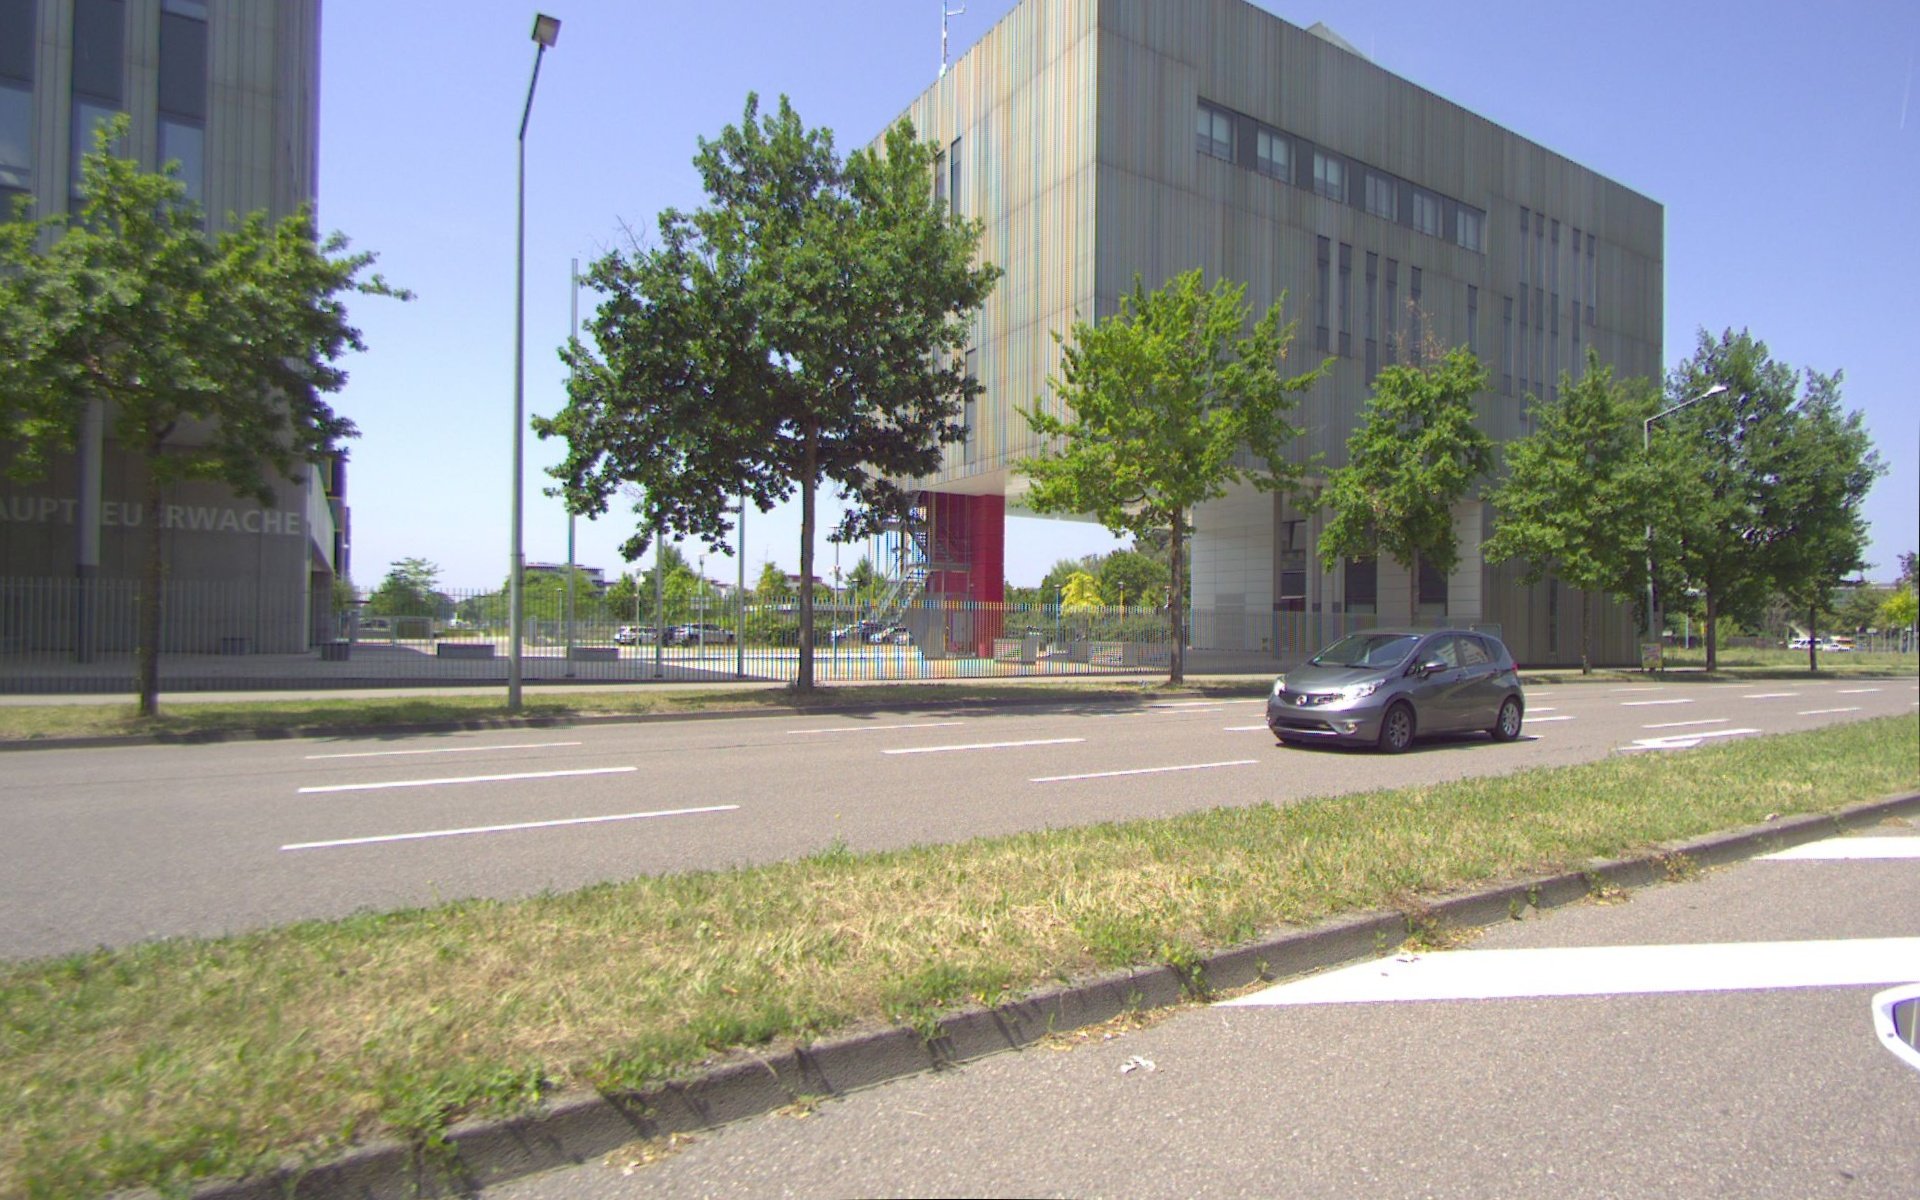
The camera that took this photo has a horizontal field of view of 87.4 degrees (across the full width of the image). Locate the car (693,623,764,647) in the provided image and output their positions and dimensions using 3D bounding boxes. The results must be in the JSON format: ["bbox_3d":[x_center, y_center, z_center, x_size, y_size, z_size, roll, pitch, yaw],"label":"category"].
[{"bbox_3d":[-14.534,2.189,63.056,3.953,1.405,1.984,1,-1,-30],"label":"car"}]

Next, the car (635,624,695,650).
[{"bbox_3d":[-20.294,2.517,69.123,3.730,1.719,1.649,1,-1,-30],"label":"car"}]

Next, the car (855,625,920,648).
[{"bbox_3d":[-5.477,2.752,76.042,4.469,1.603,2.014,1,-1,-30],"label":"car"}]

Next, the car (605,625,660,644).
[{"bbox_3d":[-25.087,2.651,76.973,3.730,1.428,1.649,1,-1,-30],"label":"car"}]

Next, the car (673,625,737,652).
[{"bbox_3d":[-16.778,2.536,66.128,3.730,1.719,1.649,1,-1,-30],"label":"car"}]

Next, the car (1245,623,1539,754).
[{"bbox_3d":[5.734,1.075,13.222,3.899,1.491,1.698,1,-3,-33],"label":"car"}]
